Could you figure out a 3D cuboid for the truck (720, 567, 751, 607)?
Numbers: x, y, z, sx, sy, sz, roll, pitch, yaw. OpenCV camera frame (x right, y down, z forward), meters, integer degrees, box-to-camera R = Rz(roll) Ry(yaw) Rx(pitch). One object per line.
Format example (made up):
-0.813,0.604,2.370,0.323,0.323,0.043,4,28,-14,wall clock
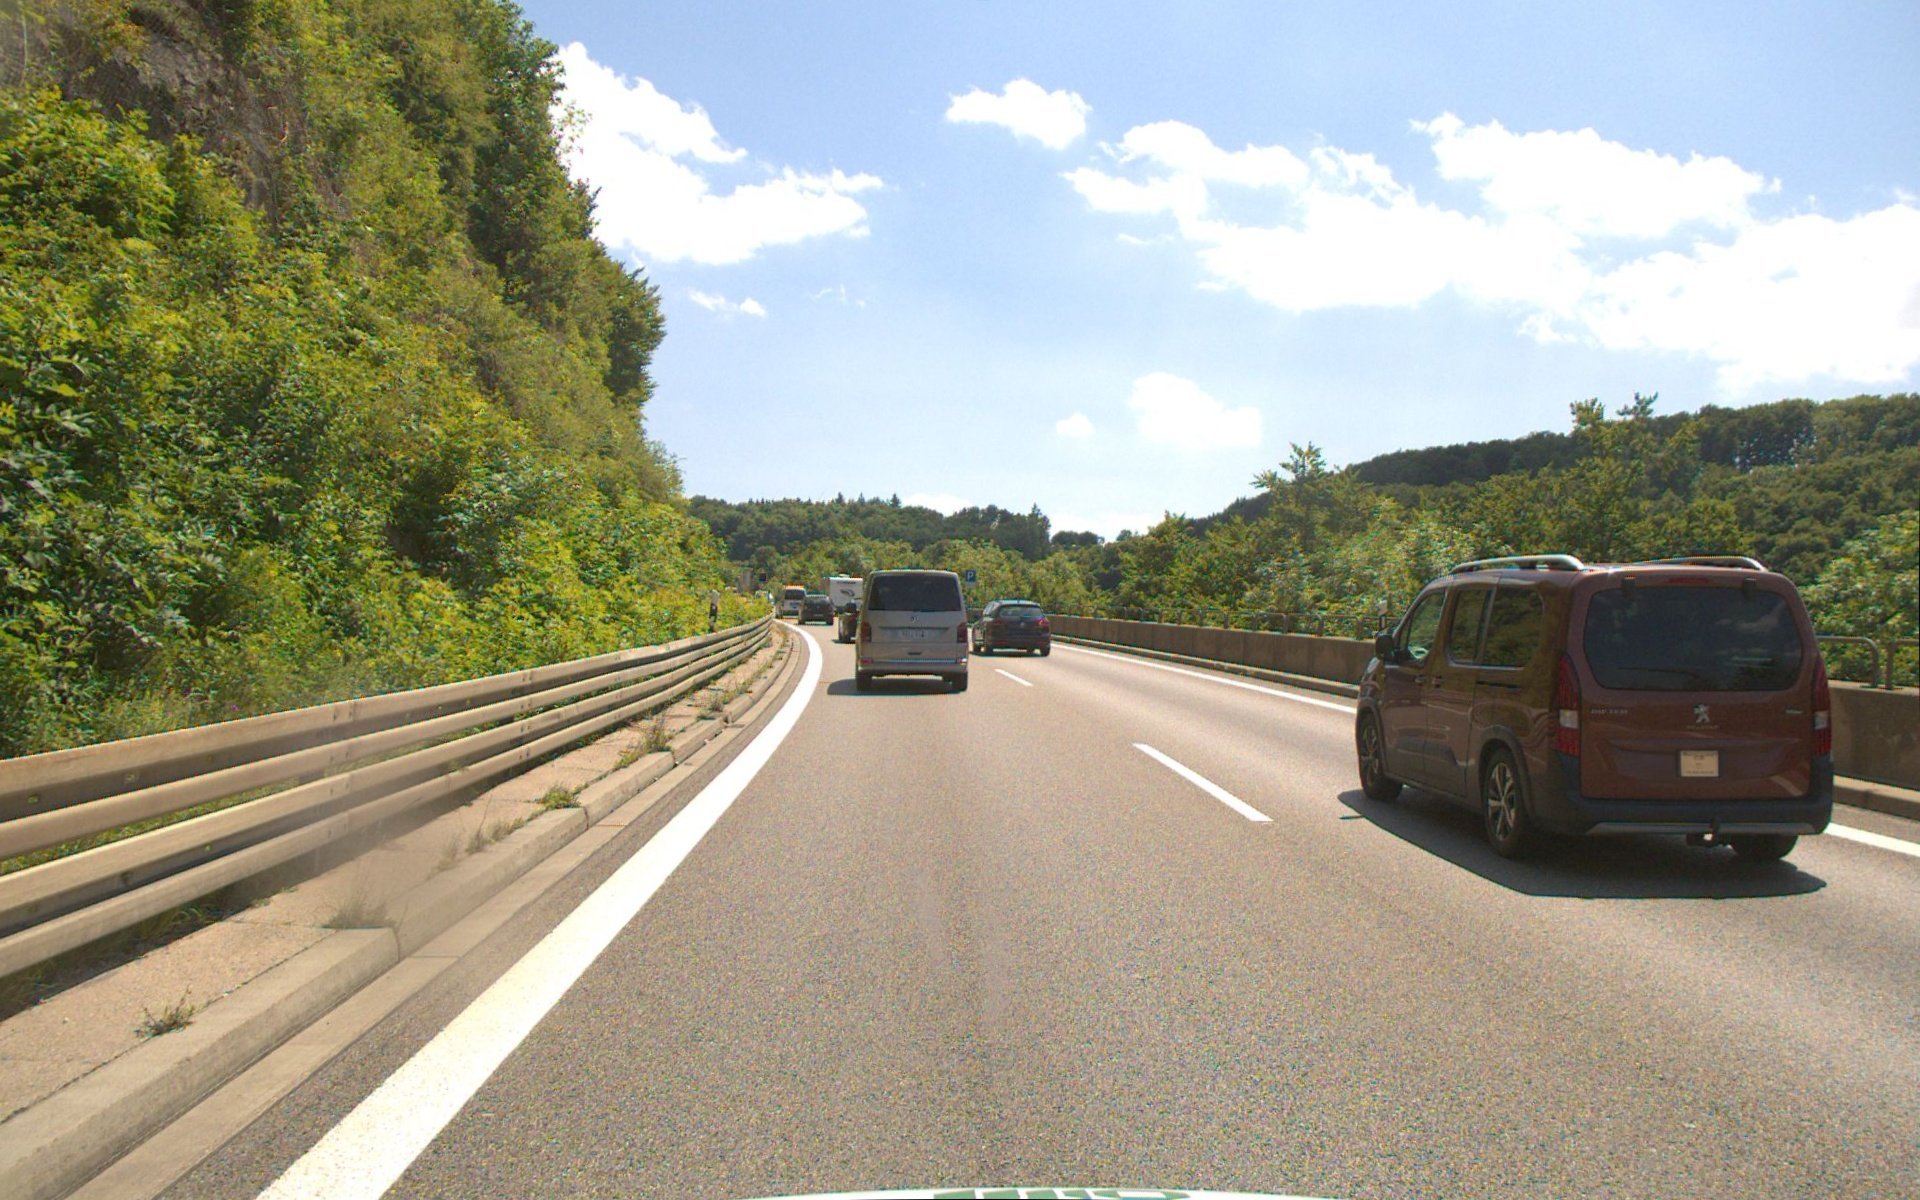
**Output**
-26.581,-1.565,195.748,3.233,4.598,7.708,1,0,-11,truck

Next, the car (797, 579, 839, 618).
-7.082,-0.060,82.172,1.955,1.849,3.994,1,0,-6,car

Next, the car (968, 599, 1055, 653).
1.355,0.685,45.080,1.736,1.400,3.585,1,0,-9,car

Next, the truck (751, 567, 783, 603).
-24.224,-1.878,207.708,3.225,4.407,7.726,0,-1,-1,truck

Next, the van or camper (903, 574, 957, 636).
-1.357,0.212,71.893,2.218,2.596,4.734,0,0,-2,van or camper

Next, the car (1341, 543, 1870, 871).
4.148,0.620,11.565,1.796,1.815,4.674,0,-1,-1,car

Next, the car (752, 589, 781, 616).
-14.416,0.188,123.228,1.957,1.948,3.992,1,0,-9,car

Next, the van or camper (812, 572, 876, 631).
-7.943,0.102,112.544,3.219,3.855,8.086,1,0,-12,van or camper

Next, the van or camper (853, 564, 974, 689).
-0.870,0.437,28.467,1.839,1.983,4.289,0,0,-5,van or camper

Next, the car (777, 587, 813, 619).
-9.804,0.160,98.361,1.954,1.849,3.997,1,0,-3,car
